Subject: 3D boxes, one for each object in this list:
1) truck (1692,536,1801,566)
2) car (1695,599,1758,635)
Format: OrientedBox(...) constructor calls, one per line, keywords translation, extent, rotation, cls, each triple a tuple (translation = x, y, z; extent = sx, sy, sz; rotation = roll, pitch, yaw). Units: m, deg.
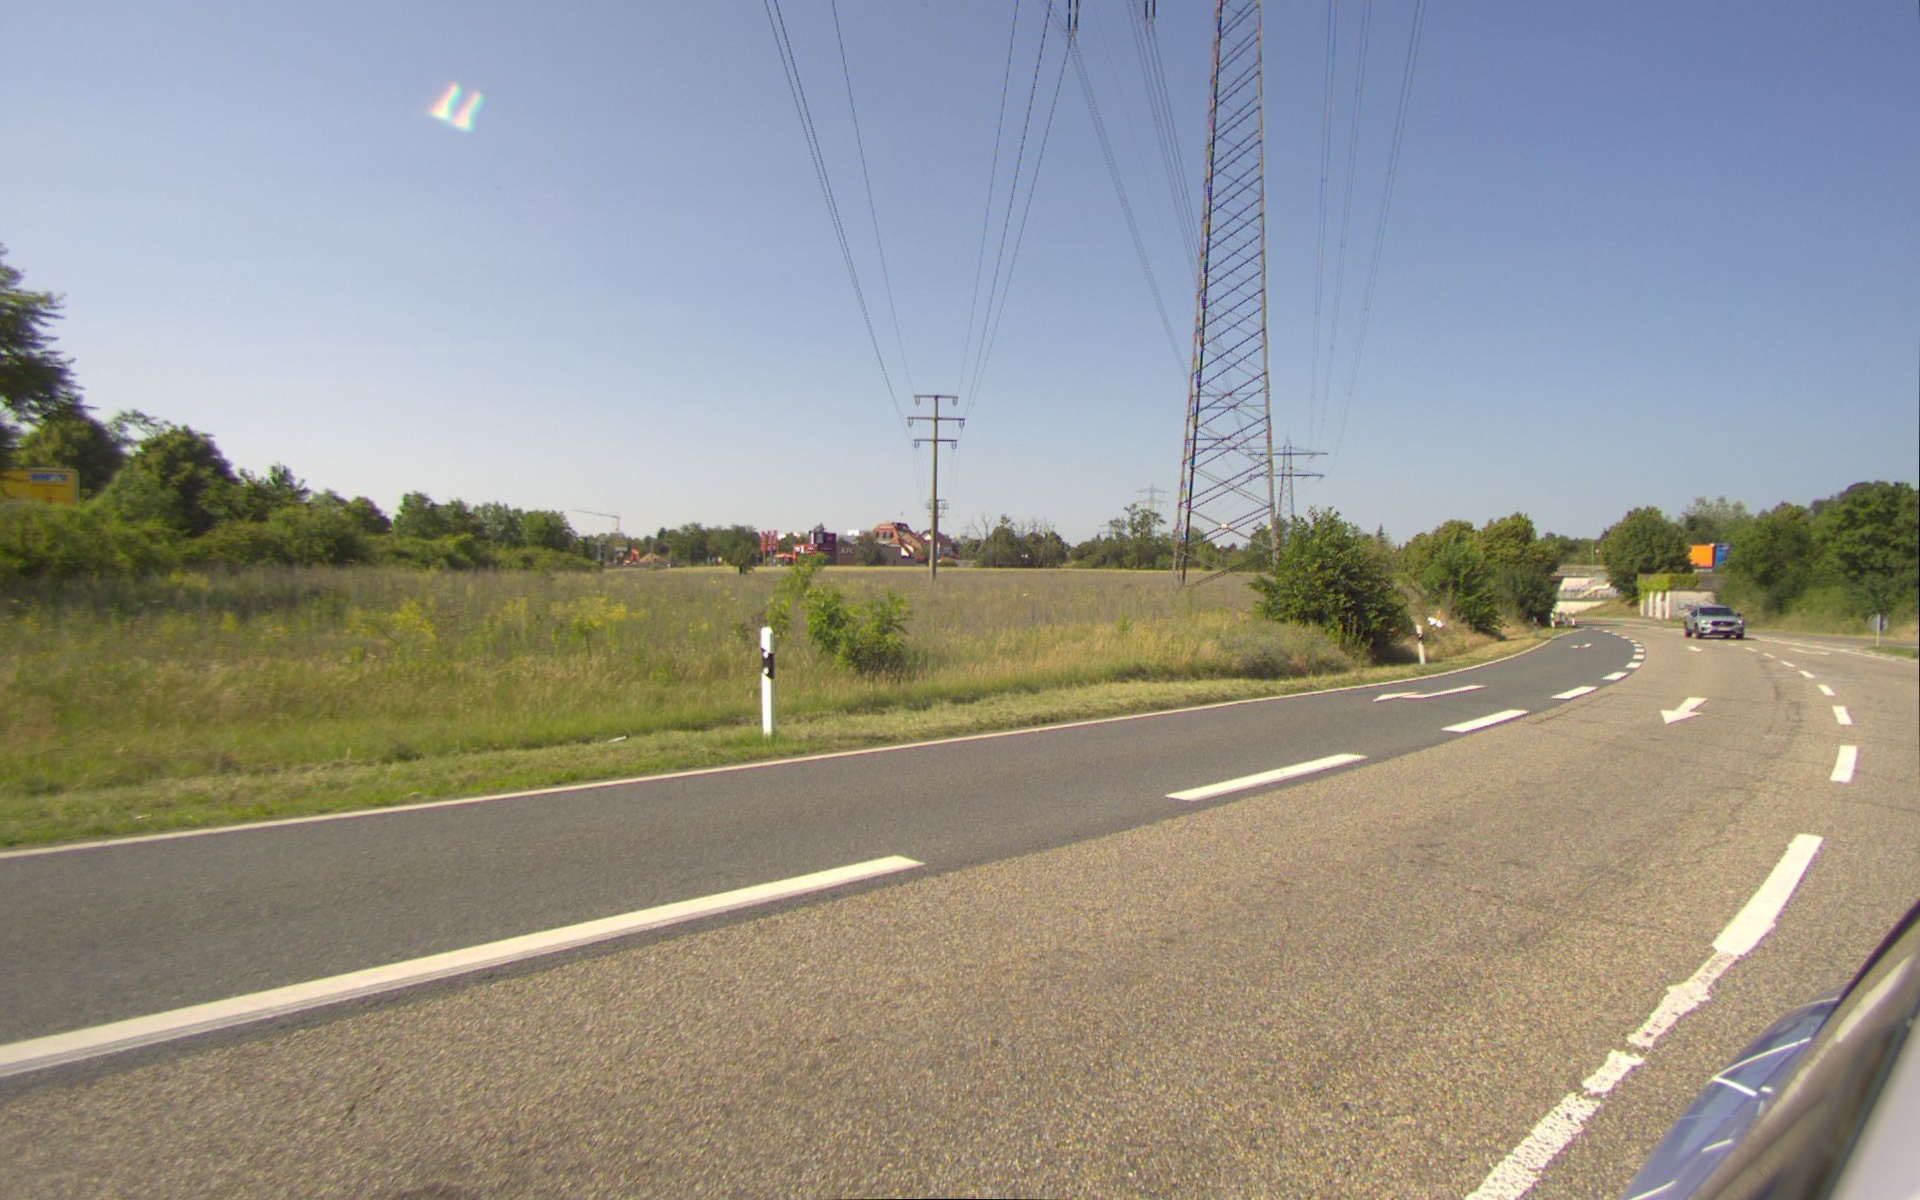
OrientedBox(translation=(98.368, -6.077, 126.876), extent=(2.117, 3.224, 11.305), rotation=(0, 0, -21), cls="truck")
OrientedBox(translation=(37.123, 0.808, 49.076), extent=(1.843, 1.640, 3.612), rotation=(1, 0, 28), cls="car")
